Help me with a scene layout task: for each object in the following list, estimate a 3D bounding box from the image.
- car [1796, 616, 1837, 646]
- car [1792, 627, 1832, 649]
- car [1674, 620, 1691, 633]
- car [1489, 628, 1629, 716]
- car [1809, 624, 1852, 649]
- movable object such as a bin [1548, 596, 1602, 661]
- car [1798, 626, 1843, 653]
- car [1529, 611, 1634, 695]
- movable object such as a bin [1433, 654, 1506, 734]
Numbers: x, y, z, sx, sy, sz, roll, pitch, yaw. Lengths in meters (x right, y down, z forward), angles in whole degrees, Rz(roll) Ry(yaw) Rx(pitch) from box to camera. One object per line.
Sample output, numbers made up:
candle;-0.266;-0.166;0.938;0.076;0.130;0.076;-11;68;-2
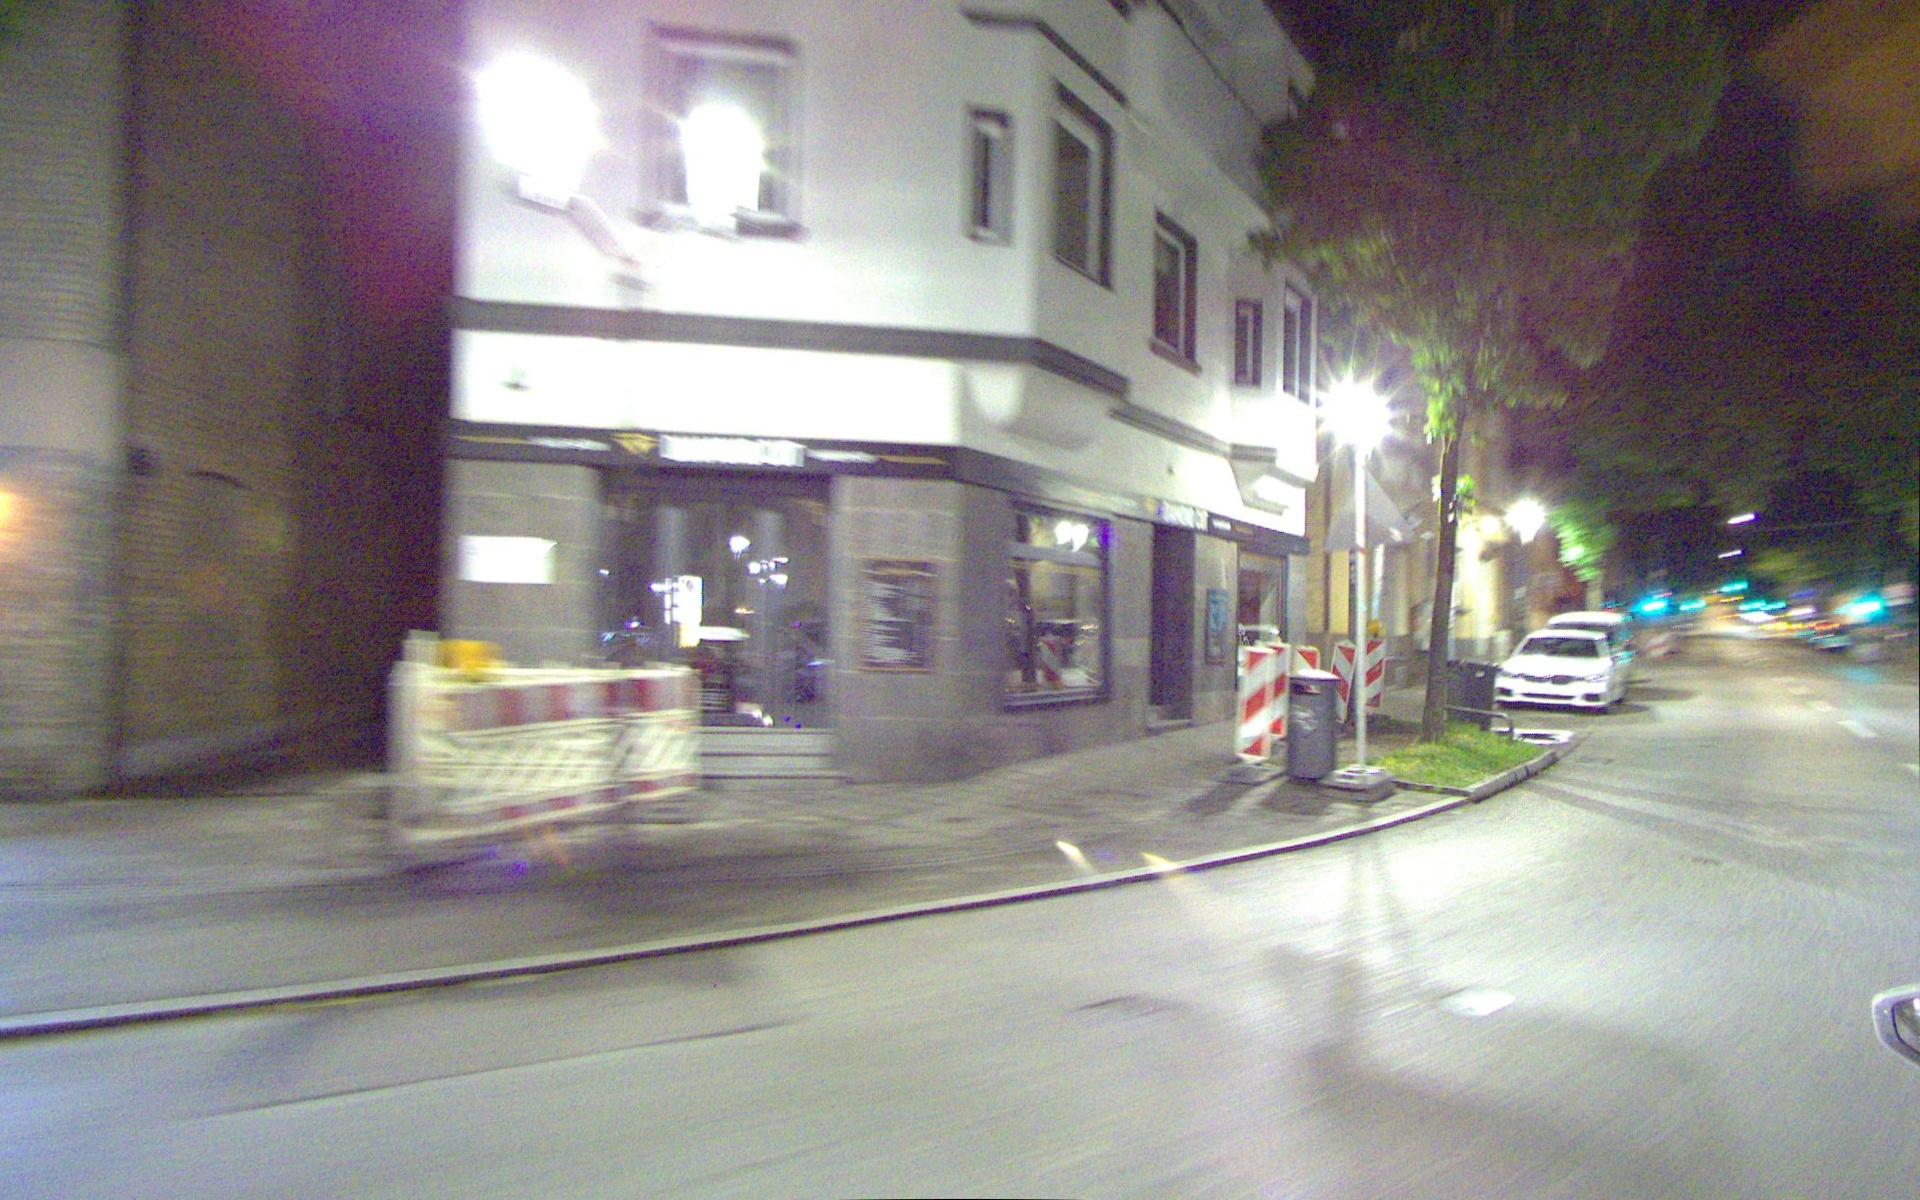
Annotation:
car;57.024;2.048;66.933;1.712;1.879;4.302;0;-1;35
car;60.242;2.674;71.058;1.704;1.438;4.310;0;-1;34
car;90.616;3.318;125.957;1.649;1.463;4.189;1;0;37
car;12.092;1.348;20.113;1.816;1.469;4.861;1;-1;38
car;53.542;2.223;61.813;1.664;1.439;4.427;-1;-1;37
movable object such as a bin;26.163;1.207;42.696;1.552;2.661;3.894;-1;-1;38
car;50.131;2.266;58.571;1.718;1.497;3.984;-3;-2;37
car;15.534;1.242;24.980;1.858;1.868;4.798;1;-1;36
movable object such as a bin;7.264;1.330;14.336;0.676;1.063;0.625;2;-1;-3
